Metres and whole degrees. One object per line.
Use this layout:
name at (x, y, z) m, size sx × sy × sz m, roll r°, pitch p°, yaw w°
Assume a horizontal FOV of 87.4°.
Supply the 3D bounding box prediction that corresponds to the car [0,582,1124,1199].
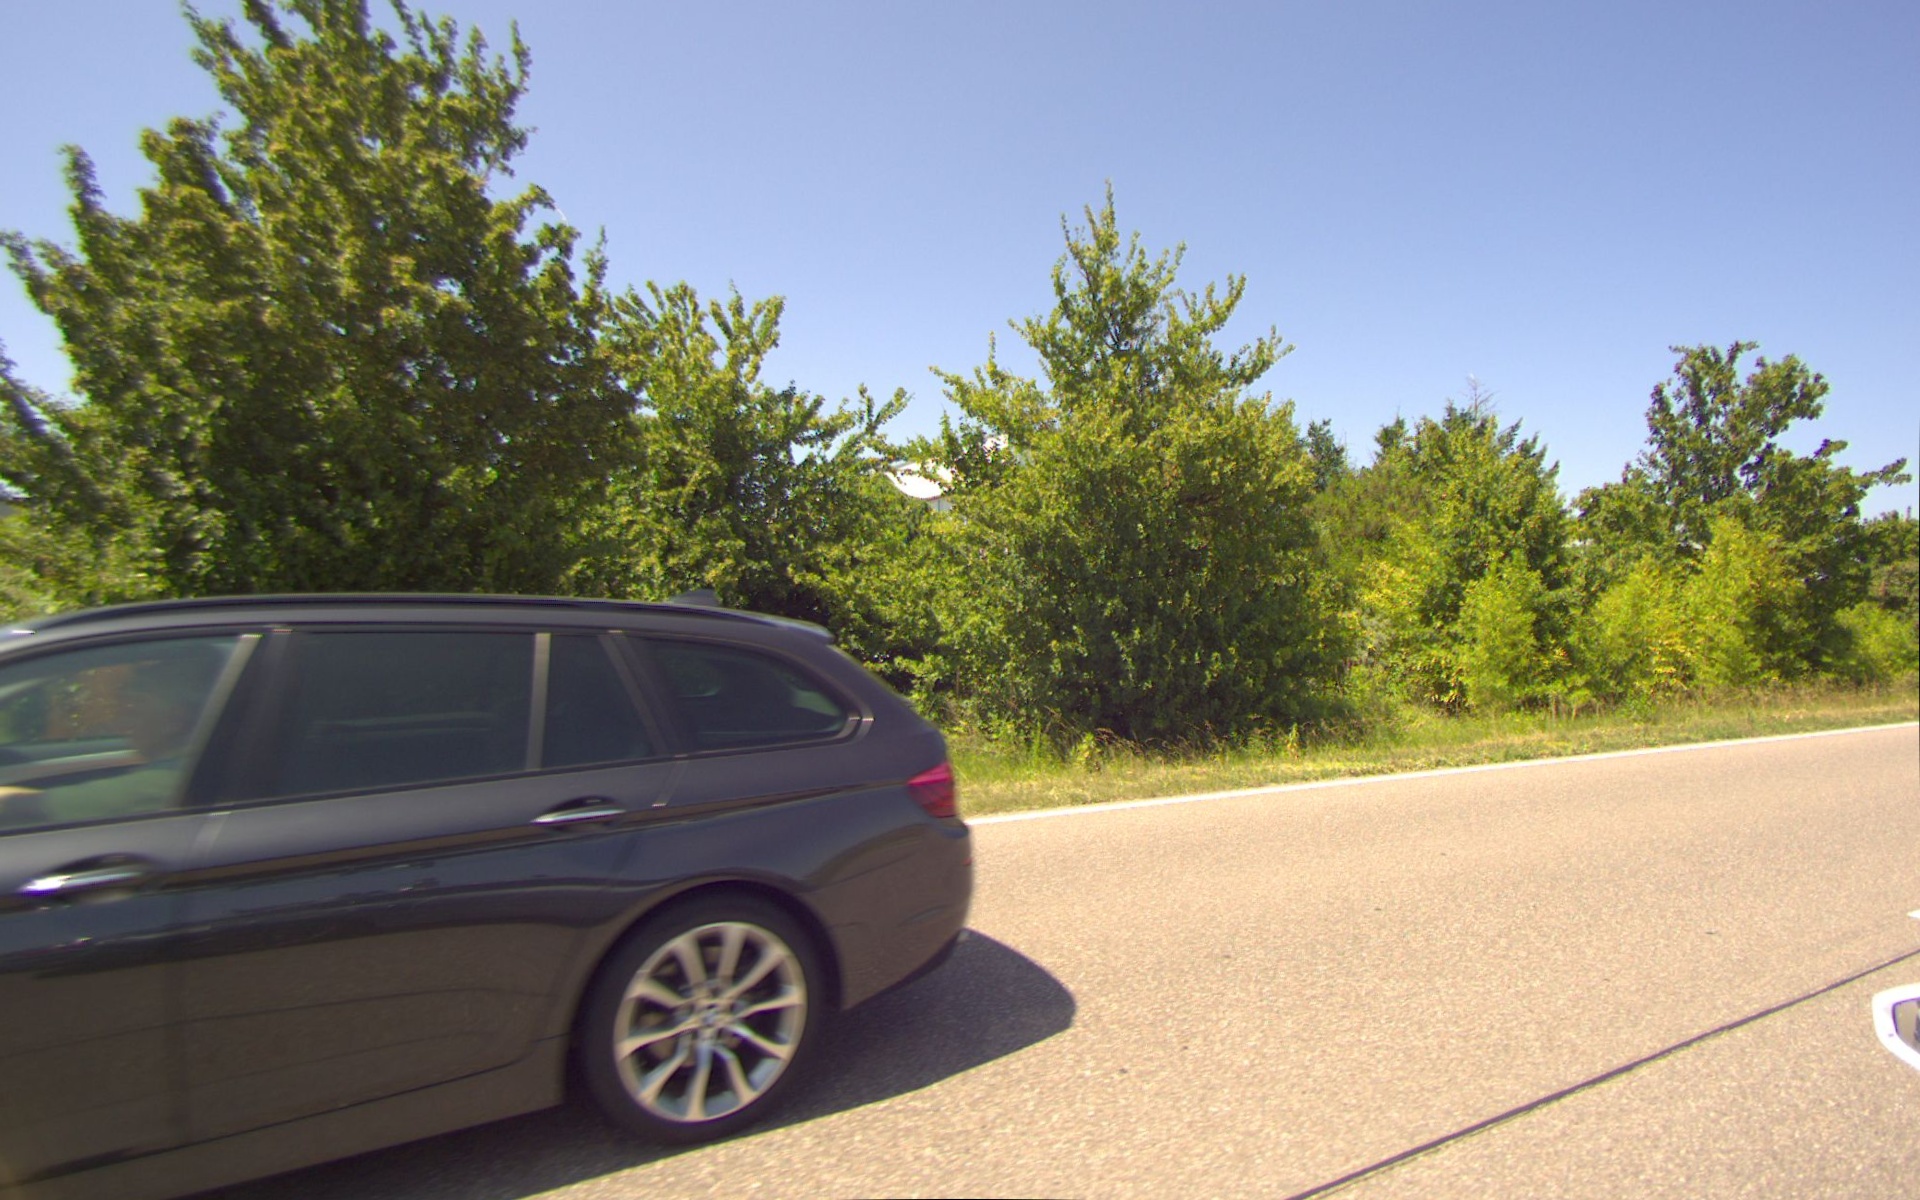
car at (-1.823, 0.707, 2.952) m, size 4.482 × 1.470 × 1.791 m, roll 1°, pitch 0°, yaw -32°
